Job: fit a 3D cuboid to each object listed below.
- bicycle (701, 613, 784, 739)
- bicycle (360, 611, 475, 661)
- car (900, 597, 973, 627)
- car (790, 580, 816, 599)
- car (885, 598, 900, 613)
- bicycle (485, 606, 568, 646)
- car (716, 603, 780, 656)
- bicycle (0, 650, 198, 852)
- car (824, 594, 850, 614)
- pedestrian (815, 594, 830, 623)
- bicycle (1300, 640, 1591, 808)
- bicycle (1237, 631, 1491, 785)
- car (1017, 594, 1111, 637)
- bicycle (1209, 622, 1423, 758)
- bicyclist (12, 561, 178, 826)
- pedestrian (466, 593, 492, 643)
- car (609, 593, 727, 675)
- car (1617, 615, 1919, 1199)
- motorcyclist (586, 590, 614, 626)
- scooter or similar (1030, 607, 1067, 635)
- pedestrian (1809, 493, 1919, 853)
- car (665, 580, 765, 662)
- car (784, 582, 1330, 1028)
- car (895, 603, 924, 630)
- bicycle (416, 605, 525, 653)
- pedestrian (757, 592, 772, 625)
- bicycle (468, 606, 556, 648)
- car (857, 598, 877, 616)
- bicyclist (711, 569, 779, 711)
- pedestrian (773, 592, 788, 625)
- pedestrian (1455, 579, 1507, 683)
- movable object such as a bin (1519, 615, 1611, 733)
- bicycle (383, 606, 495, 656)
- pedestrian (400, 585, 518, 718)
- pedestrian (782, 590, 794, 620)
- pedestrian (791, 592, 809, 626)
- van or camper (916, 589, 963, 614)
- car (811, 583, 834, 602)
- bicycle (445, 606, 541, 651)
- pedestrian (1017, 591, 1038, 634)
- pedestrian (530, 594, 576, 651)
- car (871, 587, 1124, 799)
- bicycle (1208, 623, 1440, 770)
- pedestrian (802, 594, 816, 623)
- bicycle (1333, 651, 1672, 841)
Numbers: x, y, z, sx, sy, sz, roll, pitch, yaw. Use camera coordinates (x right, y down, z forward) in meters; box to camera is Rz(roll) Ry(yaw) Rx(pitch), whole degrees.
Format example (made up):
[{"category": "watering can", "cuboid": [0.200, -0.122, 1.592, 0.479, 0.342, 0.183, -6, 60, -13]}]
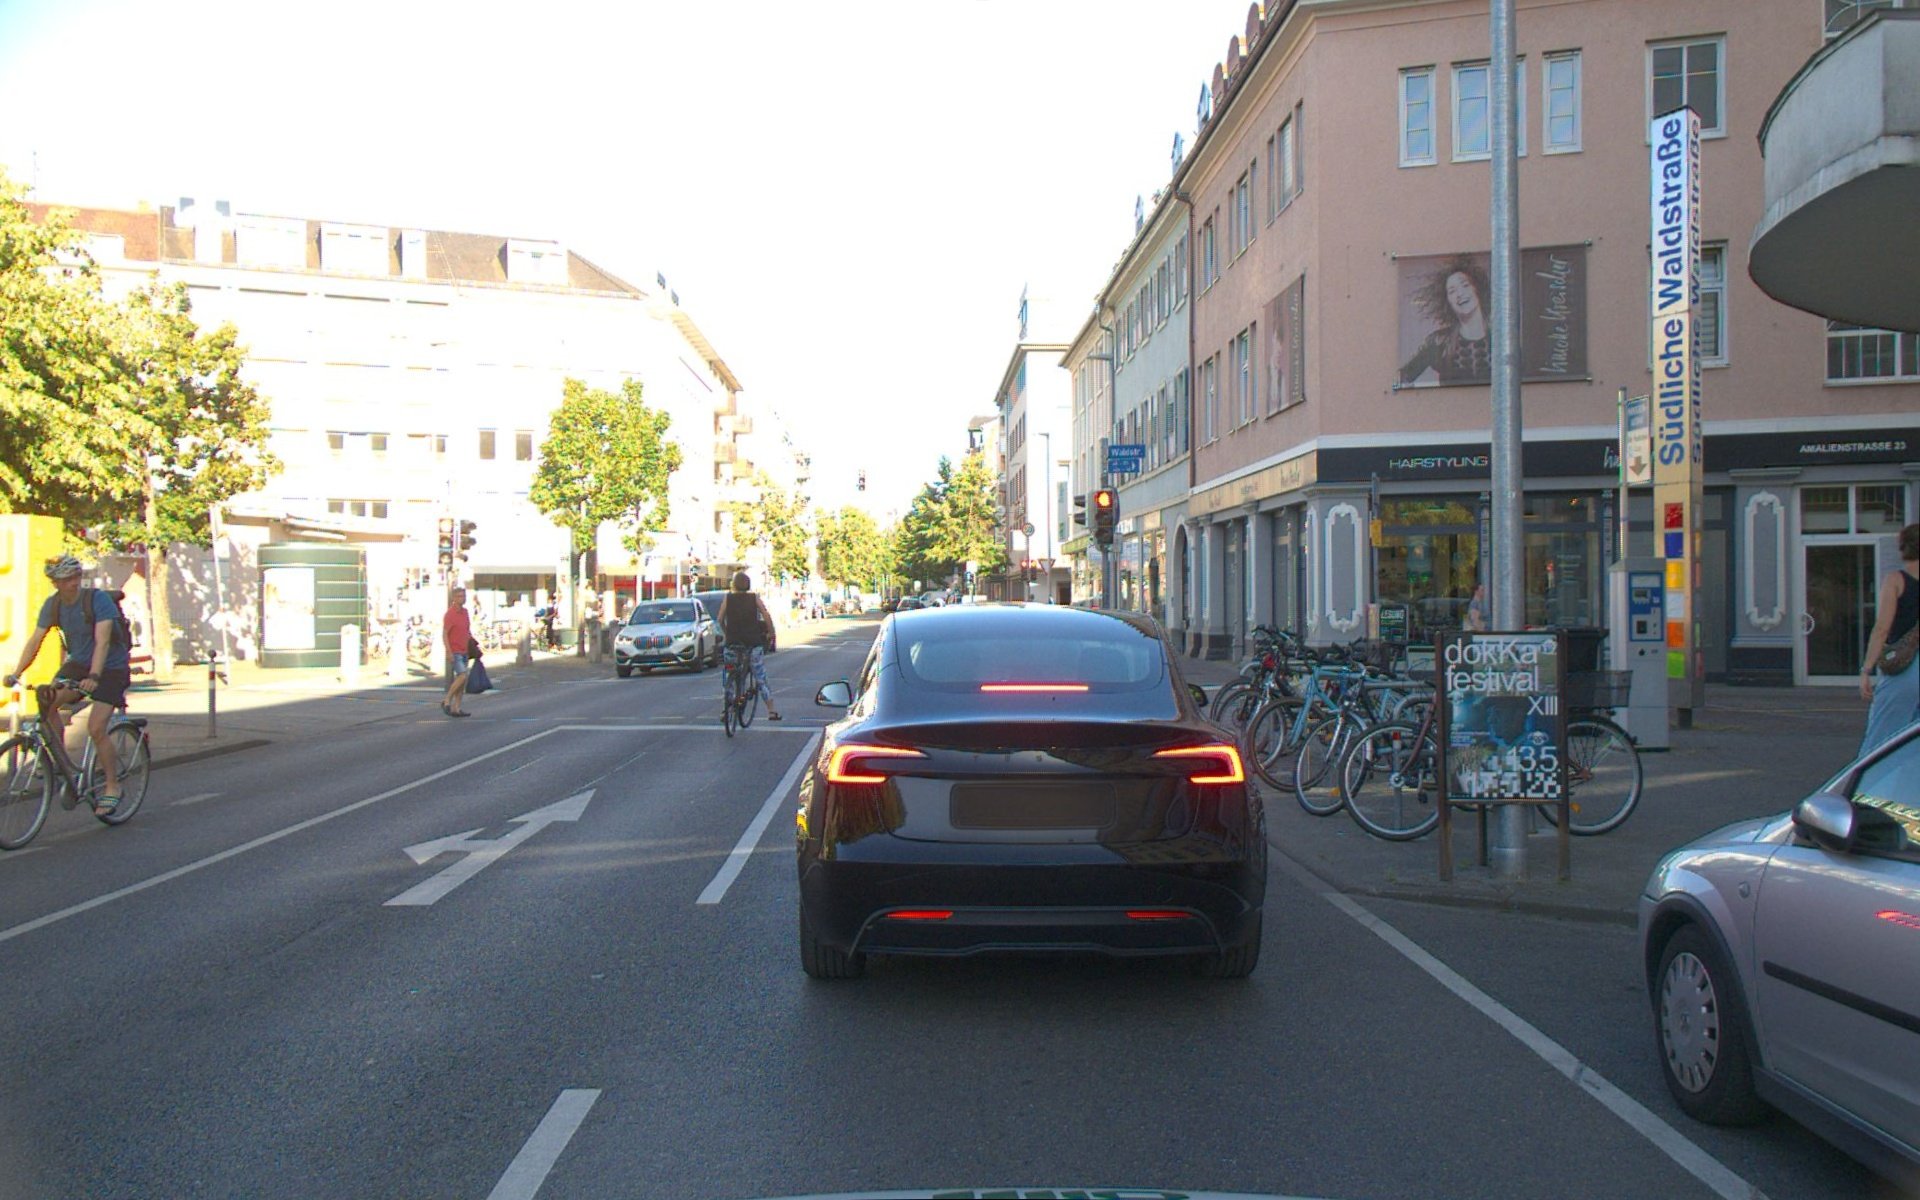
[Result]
[{"category": "bicycle", "cuboid": [-2.358, 0.801, 18.145, 0.615, 1.244, 2.001, 1, 1, 0]}, {"category": "bicycle", "cuboid": [-13.951, 0.923, 42.589, 2.607, 1.216, 0.942, 1, 0, -4]}, {"category": "car", "cuboid": [-1.174, 0.613, 82.785, 1.665, 1.414, 3.901, 1, 0, 36]}, {"category": "car", "cuboid": [-17.020, -1.137, 179.409, 2.228, 2.049, 4.717, 1, 0, 0]}, {"category": "car", "cuboid": [-8.372, 0.641, 206.495, 1.854, 1.845, 3.923, 1, 0, -2]}, {"category": "bicycle", "cuboid": [-14.228, 0.854, 54.342, 2.491, 1.273, 0.942, 1, 0, -4]}, {"category": "car", "cuboid": [-6.336, 0.851, 49.695, 1.431, 1.455, 3.605, -3, 0, -1]}, {"category": "bicycle", "cuboid": [-5.957, 0.969, 11.201, 0.603, 1.183, 1.958, -2, 0, 2]}, {"category": "car", "cuboid": [-12.346, 0.388, 166.266, 2.365, 2.004, 4.677, 0, 0, -1]}, {"category": "pedestrian", "cuboid": [-8.925, 0.566, 107.594, 0.761, 1.900, 1.005, 1, -1, -15]}, {"category": "bicycle", "cuboid": [3.249, 0.821, 11.166, 1.776, 1.078, 0.653, 0, 0, 0]}, {"category": "bicycle", "cuboid": [3.048, 0.804, 12.570, 1.776, 1.121, 0.653, 0, 0, 0]}, {"category": "car", "cuboid": [4.711, 0.699, 74.744, 3.937, 1.900, 1.686, 0, 0, -22]}, {"category": "bicycle", "cuboid": [3.161, 0.790, 14.780, 1.776, 1.172, 0.653, 0, 0, 0]}, {"category": "bicyclist", "cuboid": [-5.908, 0.619, 11.334, 0.686, 1.739, 0.810, -1, -1, 2]}, {"category": "pedestrian", "cuboid": [-17.567, 0.657, 60.426, 0.830, 1.790, 0.704, 1, -1, -15]}, {"category": "car", "cuboid": [-6.324, 0.709, 36.240, 1.788, 1.592, 4.299, -3, 0, -1]}, {"category": "car", "cuboid": [2.920, 0.780, 3.541, 1.551, 1.451, 3.579, 1, 0, -1]}, {"category": "motorcyclist", "cuboid": [-16.671, 0.382, 76.676, 1.096, 1.662, 0.770, 1, -1, -26]}, {"category": "scooter or similar", "cuboid": [3.745, 0.873, 69.936, 1.317, 1.154, 0.803, 1, -1, -25]}, {"category": "pedestrian", "cuboid": [5.253, 0.374, 9.105, 0.666, 1.882, 0.894, -3, -1, 7]}, {"category": "car", "cuboid": [-6.232, 0.504, 42.568, 1.906, 1.981, 4.819, 0, 0, -1]}, {"category": "car", "cuboid": [0.298, 0.699, 7.775, 1.812, 1.472, 4.450, 1, 0, -1]}, {"category": "car", "cuboid": [-3.581, 1.152, 116.399, 1.995, 1.819, 4.004, 0, 0, -3]}, {"category": "bicycle", "cuboid": [-14.001, 0.828, 47.328, 2.818, 1.292, 0.942, 1, 0, -4]}, {"category": "pedestrian", "cuboid": [-11.424, 0.477, 96.757, 0.721, 1.900, 0.787, 1, -1, -17]}, {"category": "bicycle", "cuboid": [-14.062, 0.847, 51.920, 2.491, 1.273, 0.942, 1, 0, -4]}, {"category": "car", "cuboid": [-10.503, 0.822, 186.970, 2.089, 2.004, 4.133, 0, 0, -1]}, {"category": "bicyclist", "cuboid": [-2.353, 0.426, 18.187, 0.594, 1.510, 0.958, 1, 0, 0]}, {"category": "pedestrian", "cuboid": [-10.551, 0.493, 96.988, 0.721, 1.900, 0.787, 1, -1, -17]}, {"category": "pedestrian", "cuboid": [8.103, 0.473, 25.699, 0.706, 1.576, 0.792, 1, -1, 21]}, {"category": "movable object such as a bin", "cuboid": [6.041, 0.731, 16.545, 0.623, 1.122, 0.728, -2, 0, 3]}, {"category": "bicycle", "cuboid": [-14.125, 0.841, 44.926, 2.725, 1.296, 0.932, 1, 0, -4]}, {"category": "pedestrian", "cuboid": [-6.817, 0.682, 22.538, 1.086, 1.750, 1.062, 1, -1, 20]}, {"category": "pedestrian", "cuboid": [-10.768, 0.308, 103.718, 0.681, 1.900, 0.658, 1, -1, -6]}, {"category": "pedestrian", "cuboid": [-9.127, 0.508, 94.447, 0.719, 1.900, 0.790, 1, -1, 28]}, {"category": "van or camper", "cuboid": [-2.070, 0.165, 167.523, 4.752, 2.481, 1.850, 0, 0, -1]}, {"category": "car", "cuboid": [-15.603, -0.825, 188.065, 2.228, 2.049, 4.717, 1, 0, 0]}, {"category": "bicycle", "cuboid": [-14.010, 0.843, 49.646, 2.609, 1.281, 0.942, 1, 0, -4]}, {"category": "pedestrian", "cuboid": [2.826, 0.540, 69.501, 0.649, 1.790, 0.649, 1, -1, -24]}, {"category": "pedestrian", "cuboid": [-12.161, 0.669, 49.450, 1.070, 1.639, 1.266, 1, 0, -1]}, {"category": "car", "cuboid": [0.242, 0.684, 14.199, 1.812, 1.507, 4.450, 1, 0, -1]}, {"category": "bicycle", "cuboid": [2.977, 0.782, 13.643, 1.776, 1.172, 0.653, 0, 0, 0]}, {"category": "pedestrian", "cuboid": [-10.173, 0.559, 111.294, 0.684, 1.900, 0.904, 1, -1, -19]}, {"category": "bicycle", "cuboid": [3.278, 0.874, 10.094, 1.844, 1.062, 0.653, -1, 0, 0]}]
